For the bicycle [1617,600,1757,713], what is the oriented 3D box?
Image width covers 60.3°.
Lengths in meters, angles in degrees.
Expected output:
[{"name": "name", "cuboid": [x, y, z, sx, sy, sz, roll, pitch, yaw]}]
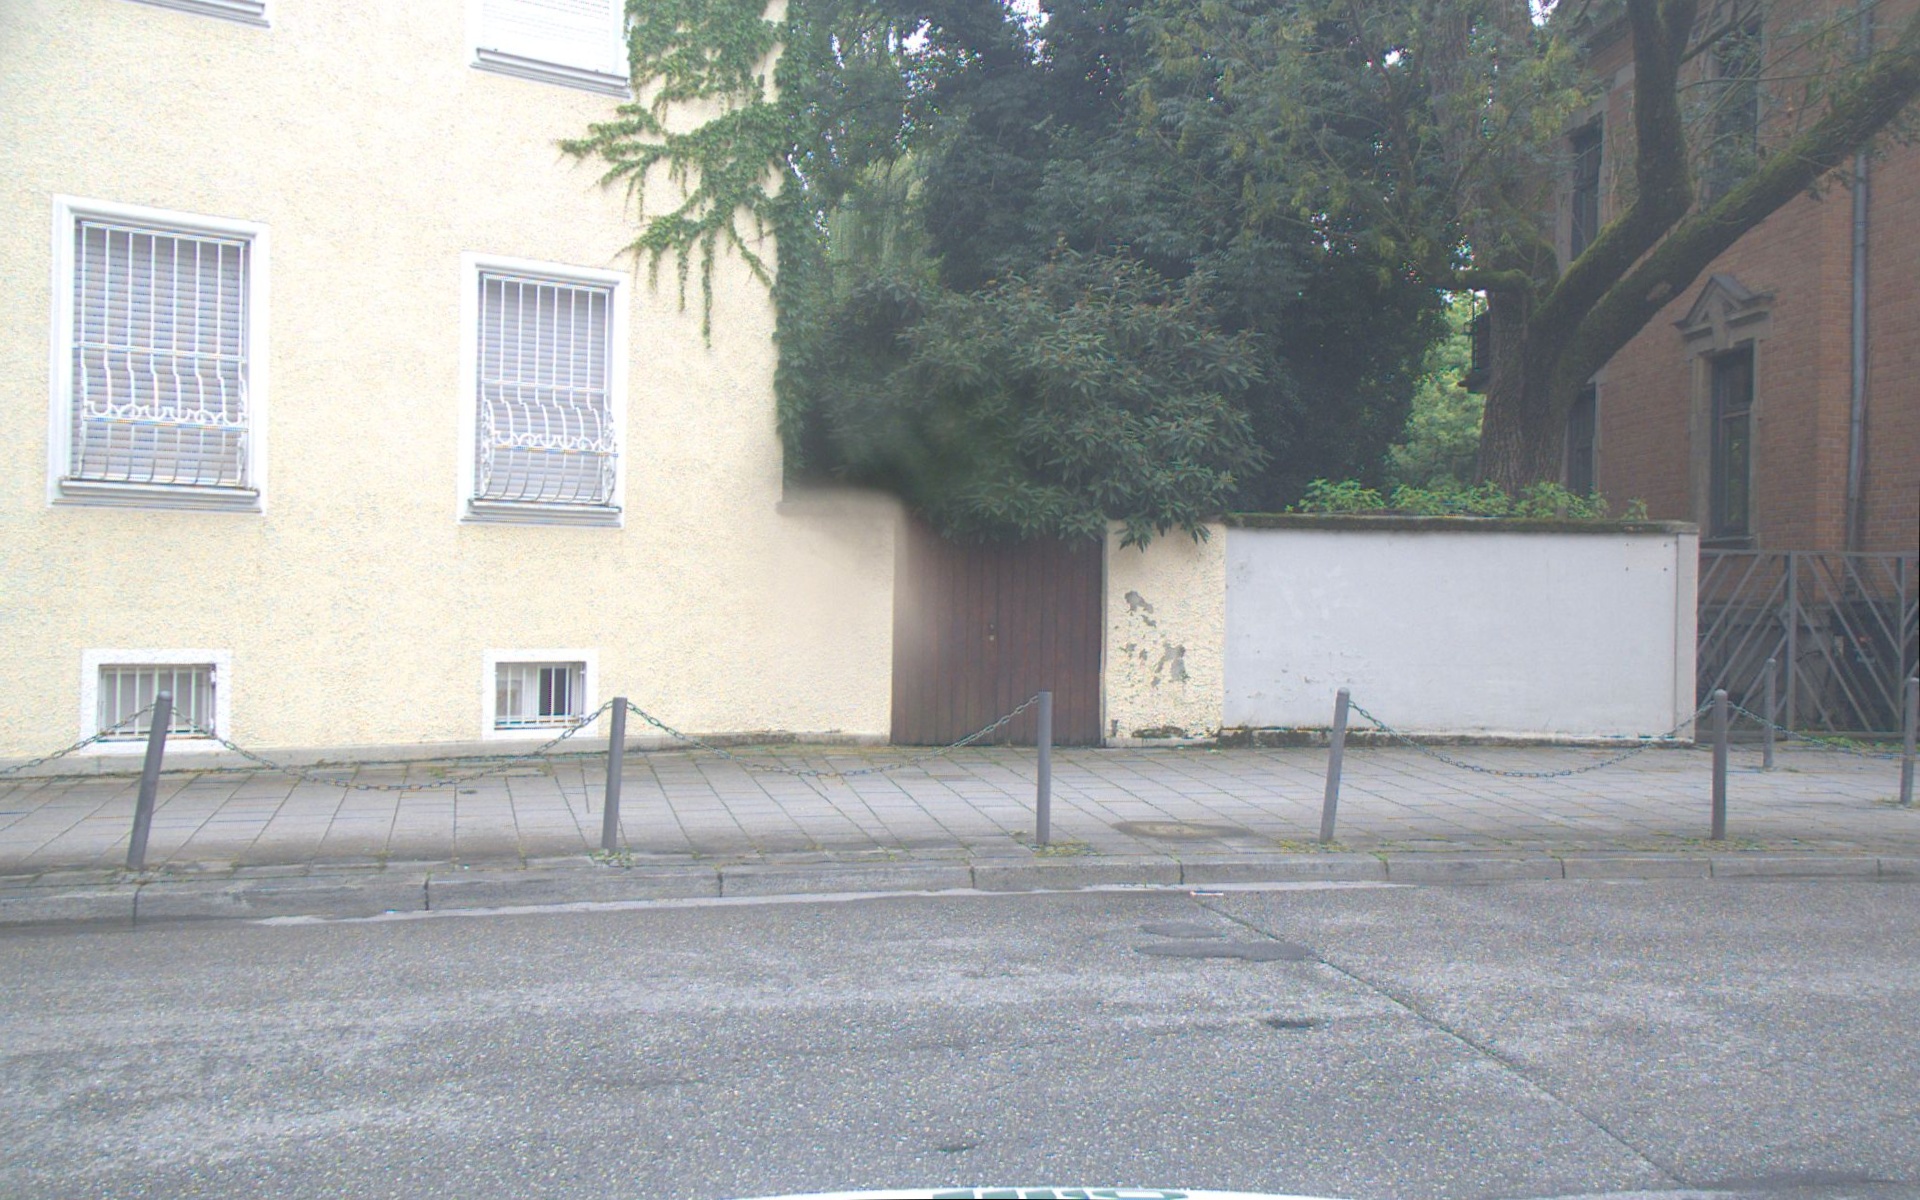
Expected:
[{"name": "bicycle", "cuboid": [8.437, 0.624, 19.289, 0.524, 1.240, 2.080, 1, 0, -6]}]
